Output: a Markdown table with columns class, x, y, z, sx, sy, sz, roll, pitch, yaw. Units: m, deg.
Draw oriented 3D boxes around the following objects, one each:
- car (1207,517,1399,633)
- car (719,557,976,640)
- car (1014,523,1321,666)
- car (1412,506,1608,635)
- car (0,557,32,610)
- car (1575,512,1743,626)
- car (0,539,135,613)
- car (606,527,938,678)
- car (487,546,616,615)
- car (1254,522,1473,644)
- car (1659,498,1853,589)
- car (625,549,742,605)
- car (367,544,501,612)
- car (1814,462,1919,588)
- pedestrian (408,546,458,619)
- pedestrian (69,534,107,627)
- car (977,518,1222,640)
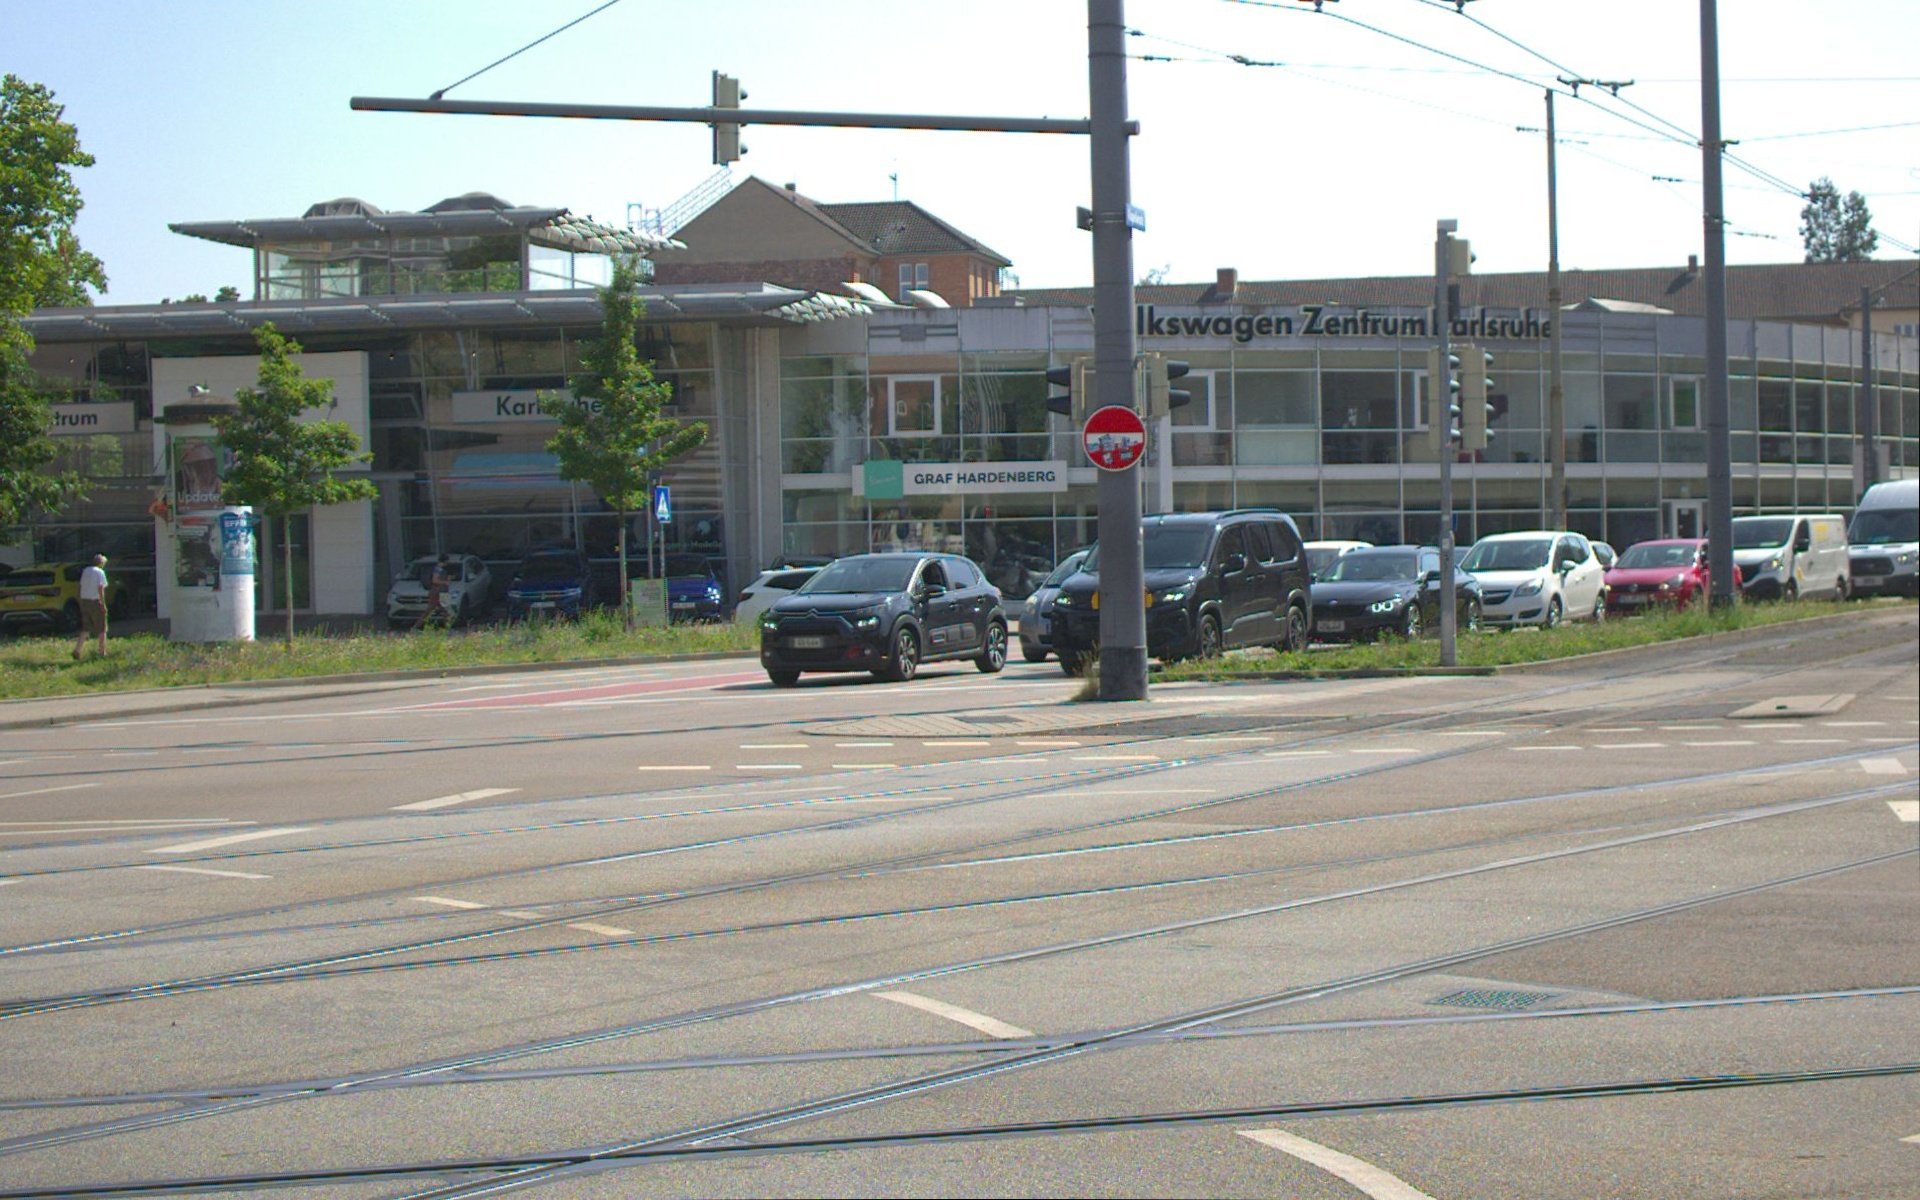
| class | x | y | z | sx | sy | sz | roll | pitch | yaw |
| --- | --- | --- | --- | --- | --- | --- | --- | --- | --- |
| car | 5.405 | -0.371 | 53.747 | 1.653 | 1.733 | 4.195 | 0 | 0 | 25 |
| car | -2.116 | -0.038 | 64.444 | 4.590 | 1.431 | 1.442 | 2 | 1 | 23 |
| car | 2.520 | -0.053 | 40.520 | 1.964 | 1.582 | 4.709 | 0 | 0 | 26 |
| car | 8.606 | -0.436 | 53.542 | 1.897 | 1.910 | 4.195 | 0 | 0 | 25 |
| car | -23.886 | -0.414 | 81.392 | 1.995 | 1.240 | 3.998 | 2 | 1 | 14 |
| car | 12.231 | -0.514 | 59.969 | 1.897 | 1.910 | 4.195 | 0 | 0 | 25 |
| car | -21.401 | -0.573 | 81.388 | 1.995 | 1.678 | 3.997 | 2 | 1 | 14 |
| car | -2.021 | 0.036 | 38.323 | 1.894 | 1.582 | 4.204 | 0 | 0 | 26 |
| car | -9.314 | -0.459 | 78.601 | 1.994 | 1.481 | 3.999 | 1 | 1 | 7 |
| car | 5.526 | -0.214 | 46.673 | 1.896 | 1.582 | 3.995 | 0 | 0 | 23 |
| car | 15.470 | -1.094 | 66.625 | 2.189 | 1.675 | 5.020 | 0 | 1 | 31 |
| car | -6.219 | -0.536 | 77.716 | 1.831 | 1.191 | 3.999 | 2 | 1 | 7 |
| car | -12.060 | -0.528 | 79.065 | 1.994 | 1.481 | 3.999 | -1 | 1 | 7 |
| car | 20.356 | -1.551 | 73.183 | 2.213 | 2.566 | 5.863 | 2 | 1 | 35 |
| pedestrian | -11.576 | -0.375 | 75.484 | 0.953 | 1.574 | 0.534 | 1 | 0 | 6 |
| pedestrian | -14.932 | -0.334 | 58.875 | 0.393 | 1.590 | 0.463 | 2 | 1 | 32 |
| car | 1.946 | -0.263 | 46.886 | 1.897 | 1.582 | 3.994 | 0 | 0 | 26 |
